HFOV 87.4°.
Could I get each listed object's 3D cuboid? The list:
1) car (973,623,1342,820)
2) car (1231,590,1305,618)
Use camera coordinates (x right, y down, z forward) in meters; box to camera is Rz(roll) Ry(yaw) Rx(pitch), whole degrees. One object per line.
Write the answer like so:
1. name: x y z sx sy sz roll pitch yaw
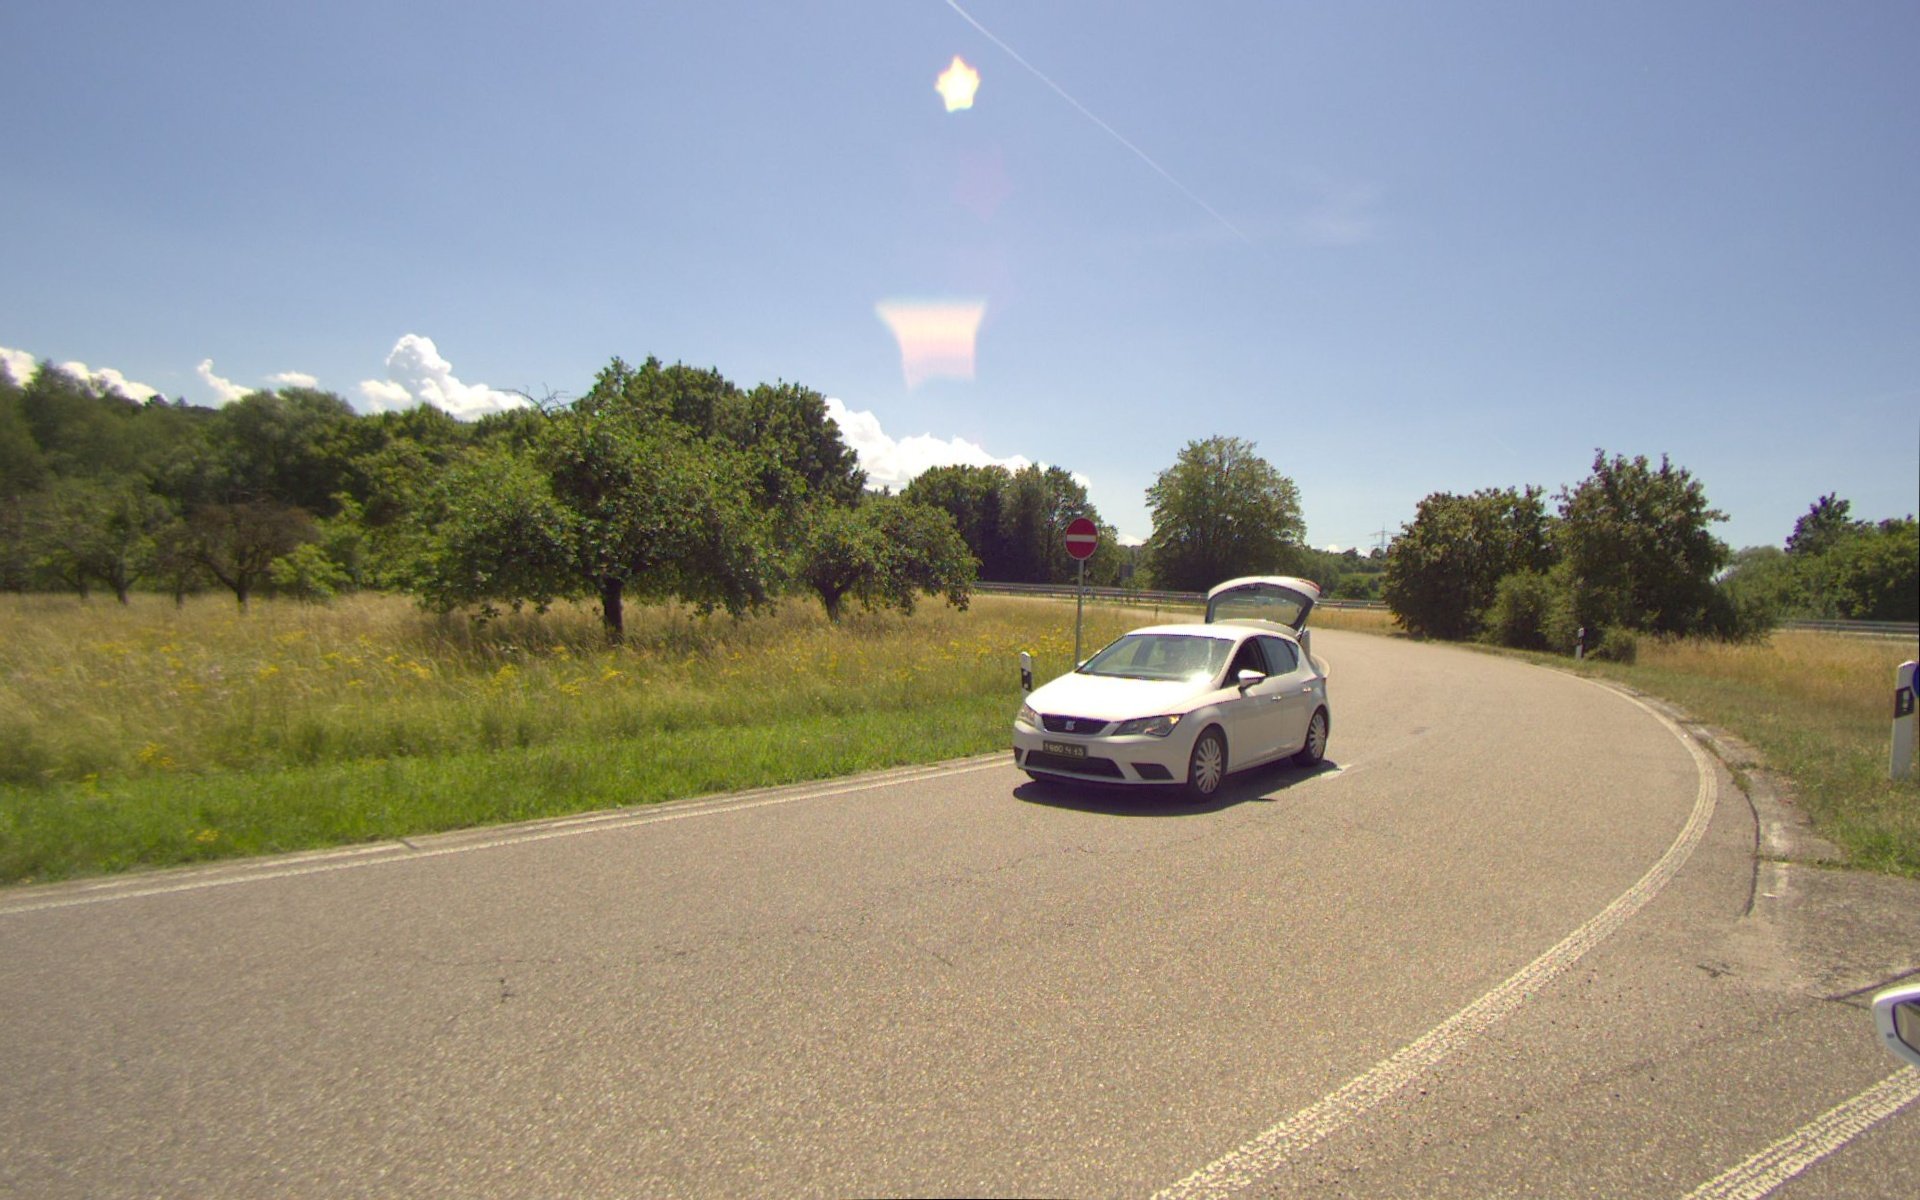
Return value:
1. car: 2.093 0.949 9.657 1.823 1.443 4.130 -1 -1 38
2. car: 22.186 0.296 72.436 4.702 1.813 1.995 2 1 32
